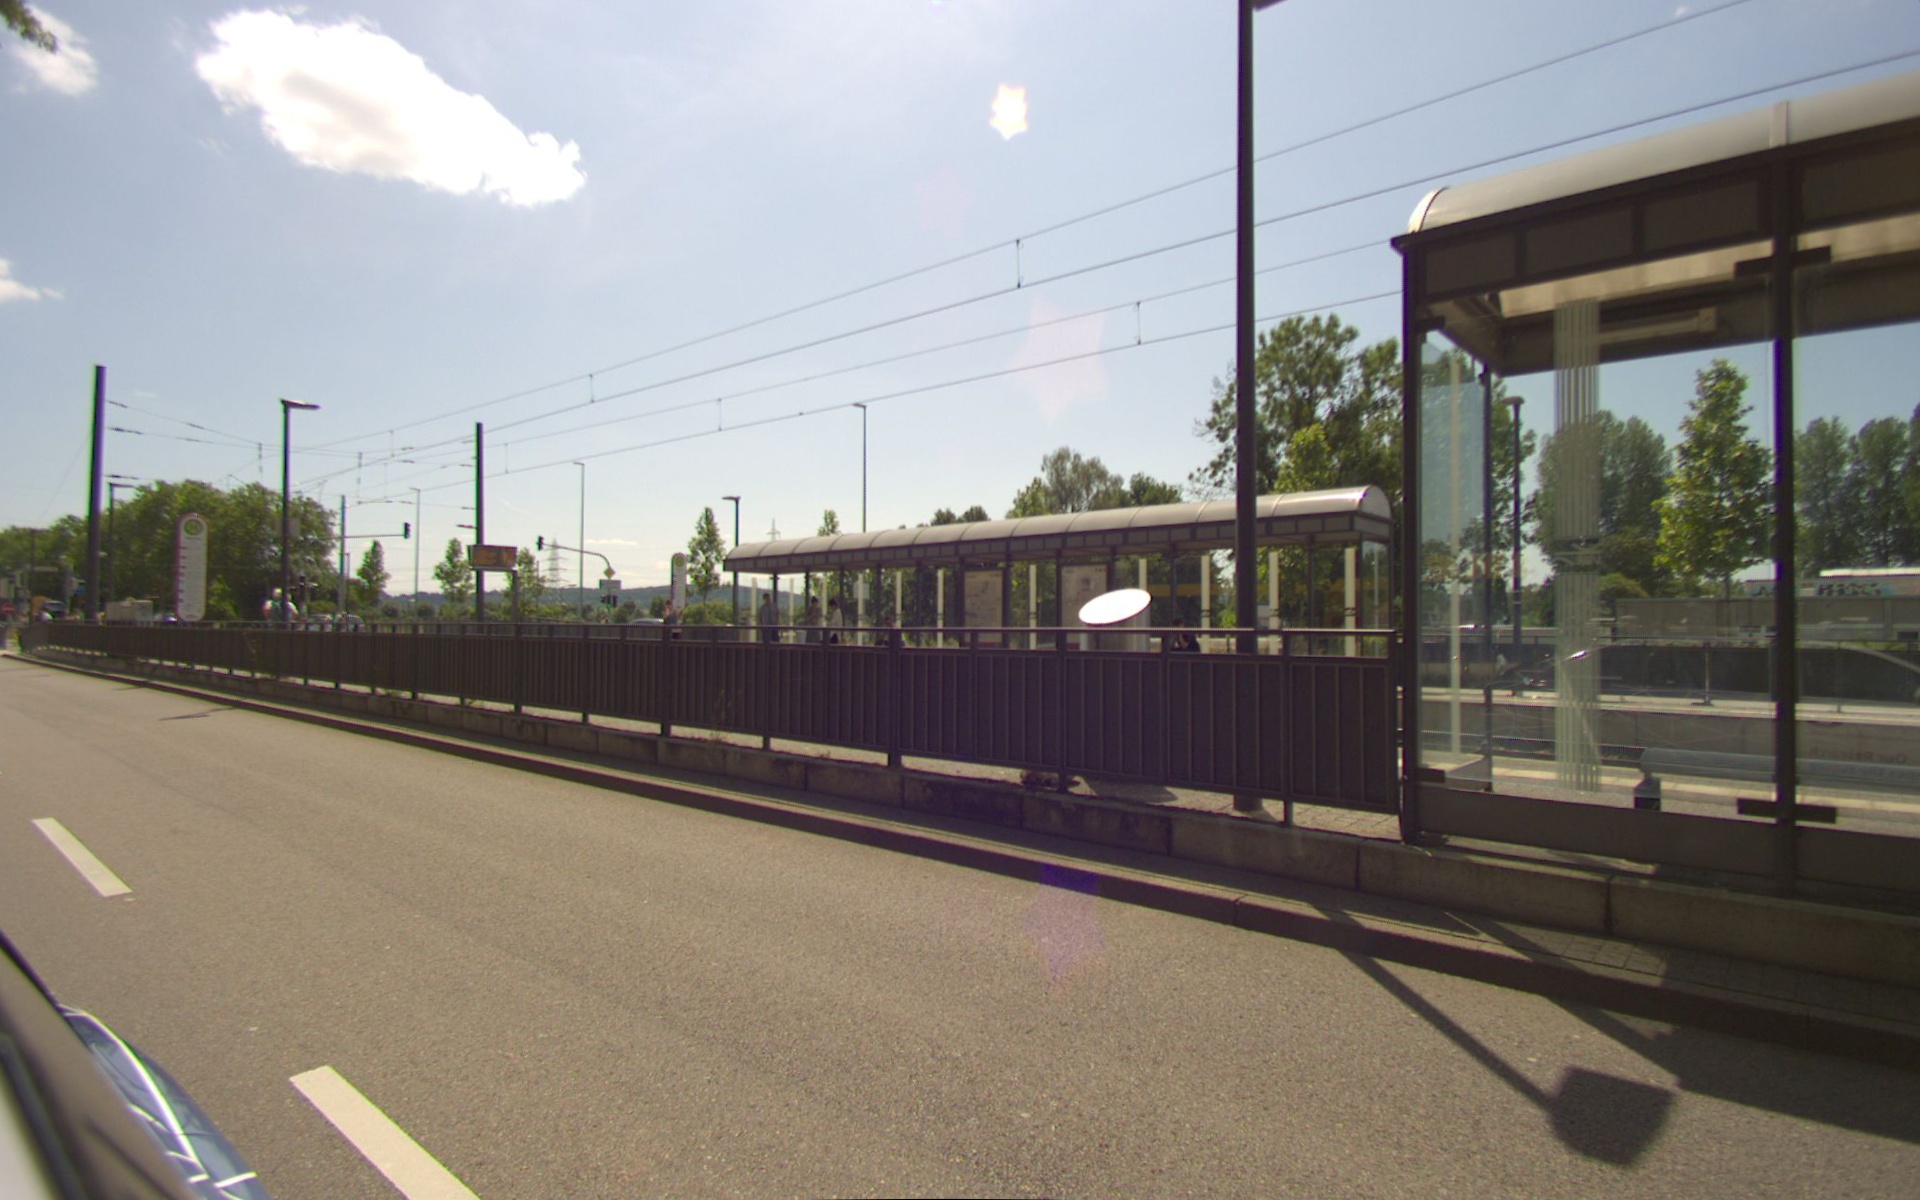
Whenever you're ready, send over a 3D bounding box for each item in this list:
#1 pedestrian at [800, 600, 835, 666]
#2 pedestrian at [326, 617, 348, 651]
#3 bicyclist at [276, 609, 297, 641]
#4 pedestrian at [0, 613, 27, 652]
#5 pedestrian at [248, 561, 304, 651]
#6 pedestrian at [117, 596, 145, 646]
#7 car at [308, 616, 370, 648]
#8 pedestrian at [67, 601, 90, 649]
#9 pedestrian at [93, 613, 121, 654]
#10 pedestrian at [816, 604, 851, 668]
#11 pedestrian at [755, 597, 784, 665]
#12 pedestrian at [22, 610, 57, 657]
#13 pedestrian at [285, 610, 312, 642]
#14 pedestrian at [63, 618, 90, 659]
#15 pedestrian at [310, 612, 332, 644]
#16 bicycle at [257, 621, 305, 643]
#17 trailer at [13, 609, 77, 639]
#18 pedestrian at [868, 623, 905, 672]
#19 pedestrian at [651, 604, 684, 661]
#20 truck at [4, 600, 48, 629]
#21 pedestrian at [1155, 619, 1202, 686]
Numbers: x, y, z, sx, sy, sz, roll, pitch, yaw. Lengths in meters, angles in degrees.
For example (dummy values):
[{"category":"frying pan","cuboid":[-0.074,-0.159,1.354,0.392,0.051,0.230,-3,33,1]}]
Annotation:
[{"category":"pedestrian","cuboid":[-3.591,0.832,25.499,0.814,1.651,0.579,0,-2,-11]},{"category":"pedestrian","cuboid":[-31.210,1.680,50.710,0.763,1.685,0.754,-1,-2,39]},{"category":"bicyclist","cuboid":[-34.675,1.306,52.107,0.729,1.627,0.660,-1,-1,26]},{"category":"pedestrian","cuboid":[-38.944,1.342,41.593,0.764,1.584,0.777,-1,-1,38]},{"category":"pedestrian","cuboid":[-13.156,0.120,19.468,0.742,1.678,0.725,-1,-2,41]},{"category":"pedestrian","cuboid":[-28.267,0.708,34.501,0.719,1.694,0.607,-1,-1,40]},{"category":"car","cuboid":[-34.737,1.771,56.583,4.000,1.641,1.972,0,0,43]},{"category":"pedestrian","cuboid":[-29.659,0.832,34.050,0.556,1.590,0.492,-1,-2,40]},{"category":"pedestrian","cuboid":[-28.677,1.110,34.010,0.719,1.355,0.607,-1,-1,40]},{"category":"pedestrian","cuboid":[-3.107,0.882,24.882,0.639,1.545,0.570,-1,-2,42]},{"category":"pedestrian","cuboid":[-4.921,0.792,26.173,0.726,1.742,0.579,0,-2,-11]},{"category":"pedestrian","cuboid":[-35.635,1.280,39.168,0.882,1.816,0.854,-1,-1,38]},{"category":"pedestrian","cuboid":[-33.532,1.313,51.320,0.763,1.622,0.947,-1,-2,39]},{"category":"pedestrian","cuboid":[-36.649,1.580,41.967,0.678,1.685,0.725,-1,-1,38]},{"category":"pedestrian","cuboid":[-32.378,1.413,51.273,0.763,1.560,0.754,-1,-2,39]},{"category":"bicycle","cuboid":[-34.775,1.626,51.863,0.760,1.109,1.960,-1,0,26]},{"category":"trailer","cuboid":[-126.950,3.328,140.327,15.444,3.900,3.088,-1,-2,35]},{"category":"pedestrian","cuboid":[-1.712,1.097,23.614,0.639,1.103,0.570,-1,-2,42]},{"category":"pedestrian","cuboid":[-8.651,0.949,29.939,0.804,1.650,0.552,-1,-2,34]},{"category":"truck","cuboid":[-133.866,2.114,145.088,7.457,4.069,3.099,-1,-1,35]},{"category":"pedestrian","cuboid":[4.025,0.950,18.627,0.639,1.199,0.570,-1,-2,42]}]
